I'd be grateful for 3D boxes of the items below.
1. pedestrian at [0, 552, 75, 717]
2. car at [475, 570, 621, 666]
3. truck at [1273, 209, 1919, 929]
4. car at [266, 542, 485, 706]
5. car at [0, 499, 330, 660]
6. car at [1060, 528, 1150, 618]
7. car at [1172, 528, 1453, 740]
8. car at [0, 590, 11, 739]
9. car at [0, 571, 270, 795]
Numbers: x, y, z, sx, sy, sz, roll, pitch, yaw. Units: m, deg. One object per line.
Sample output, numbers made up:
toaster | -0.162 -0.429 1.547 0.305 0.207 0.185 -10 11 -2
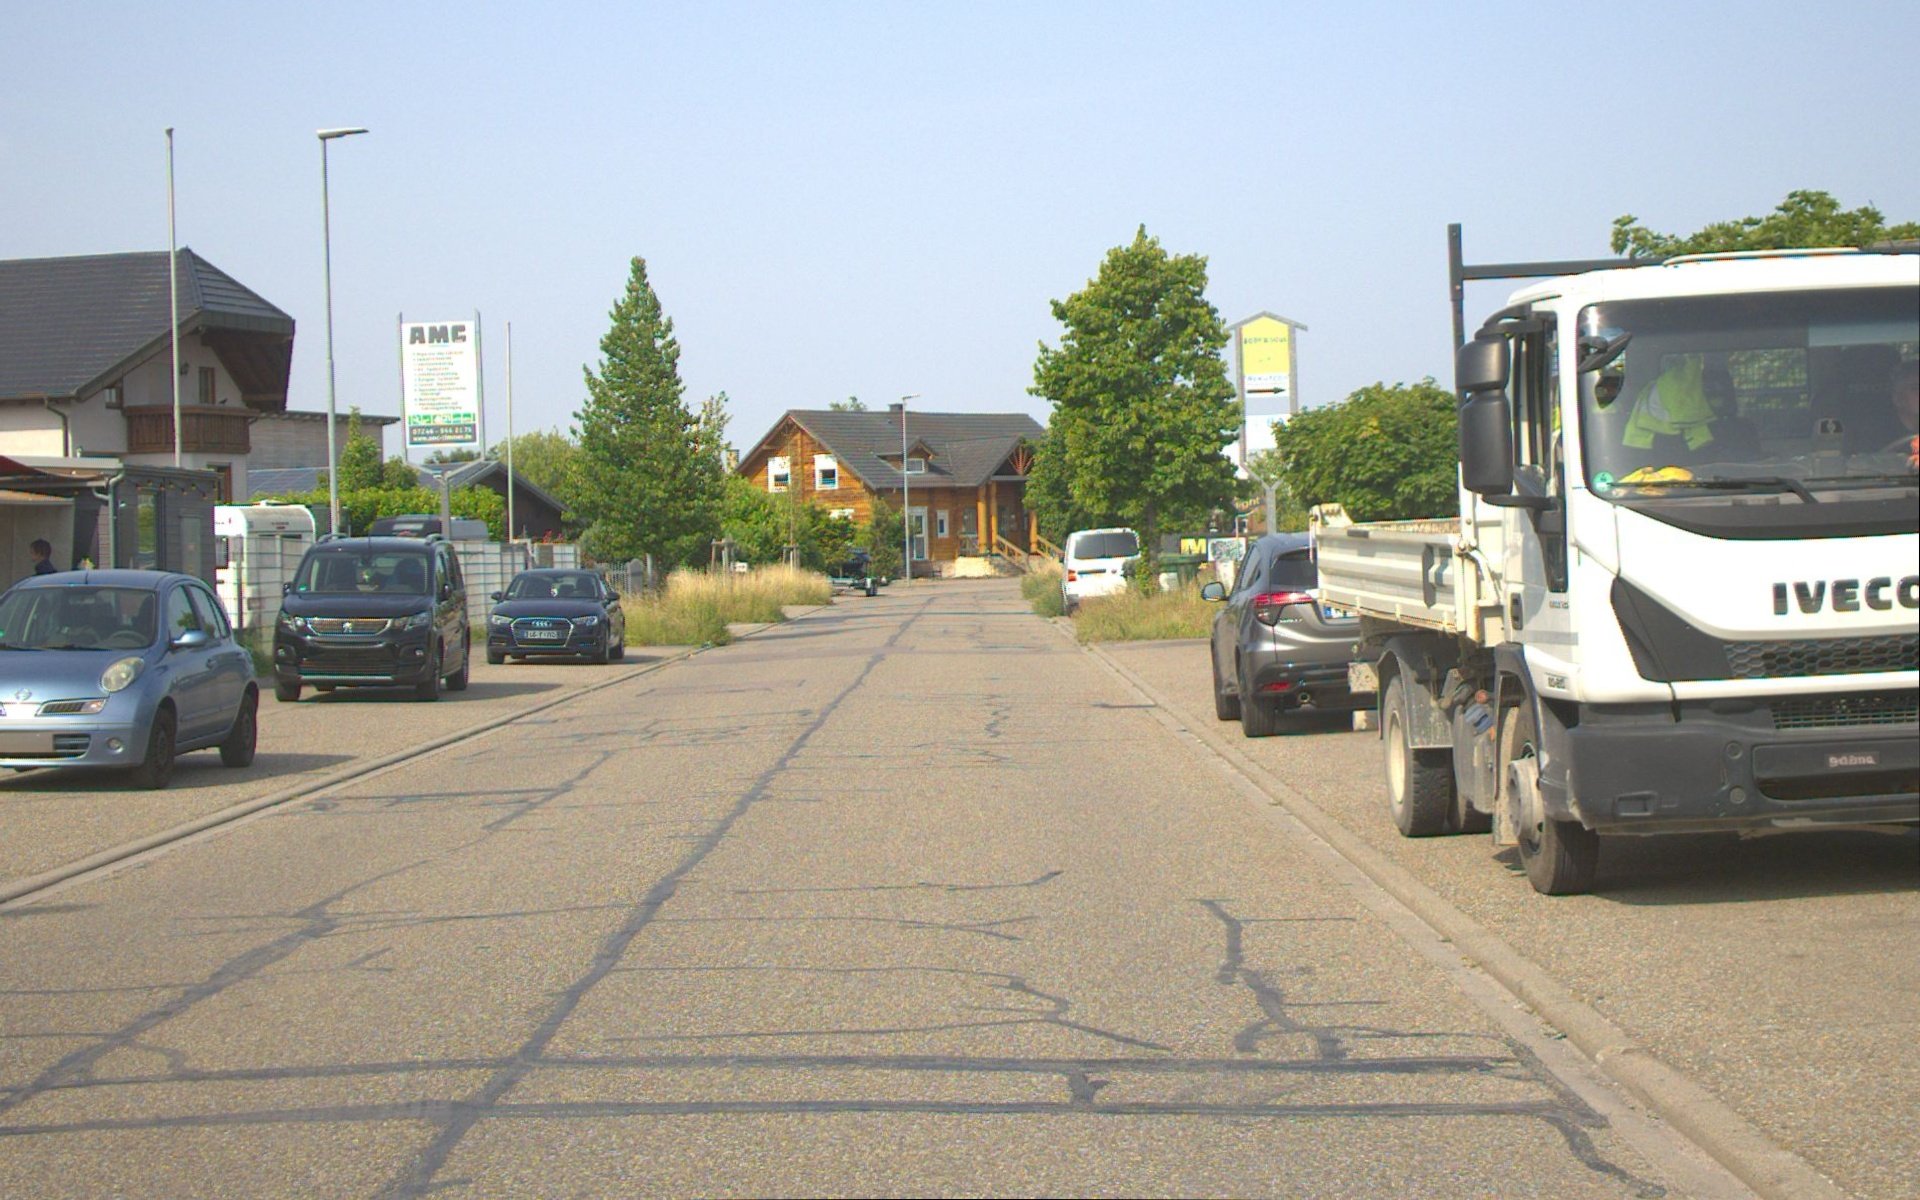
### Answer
pedestrian | -9.706 0.359 36.134 0.562 1.709 0.534 -2 1 -37
car | -6.179 0.247 51.919 1.800 1.382 3.638 0 1 0
truck | 3.187 -0.179 16.270 2.359 2.672 6.512 -2 1 -3
car | -6.586 0.233 39.140 1.800 1.768 4.203 0 1 0
car | -13.985 -0.360 60.115 5.162 2.577 2.574 -2 1 21
car | 3.275 -0.621 78.092 1.837 1.917 3.756 -2 1 0
car | 2.809 0.228 28.175 1.794 1.555 4.000 -2 1 -1
car | -10.877 0.614 32.123 3.587 1.409 1.762 0 0 -3
car | -6.303 0.545 25.126 1.633 1.512 3.605 0 1 3
